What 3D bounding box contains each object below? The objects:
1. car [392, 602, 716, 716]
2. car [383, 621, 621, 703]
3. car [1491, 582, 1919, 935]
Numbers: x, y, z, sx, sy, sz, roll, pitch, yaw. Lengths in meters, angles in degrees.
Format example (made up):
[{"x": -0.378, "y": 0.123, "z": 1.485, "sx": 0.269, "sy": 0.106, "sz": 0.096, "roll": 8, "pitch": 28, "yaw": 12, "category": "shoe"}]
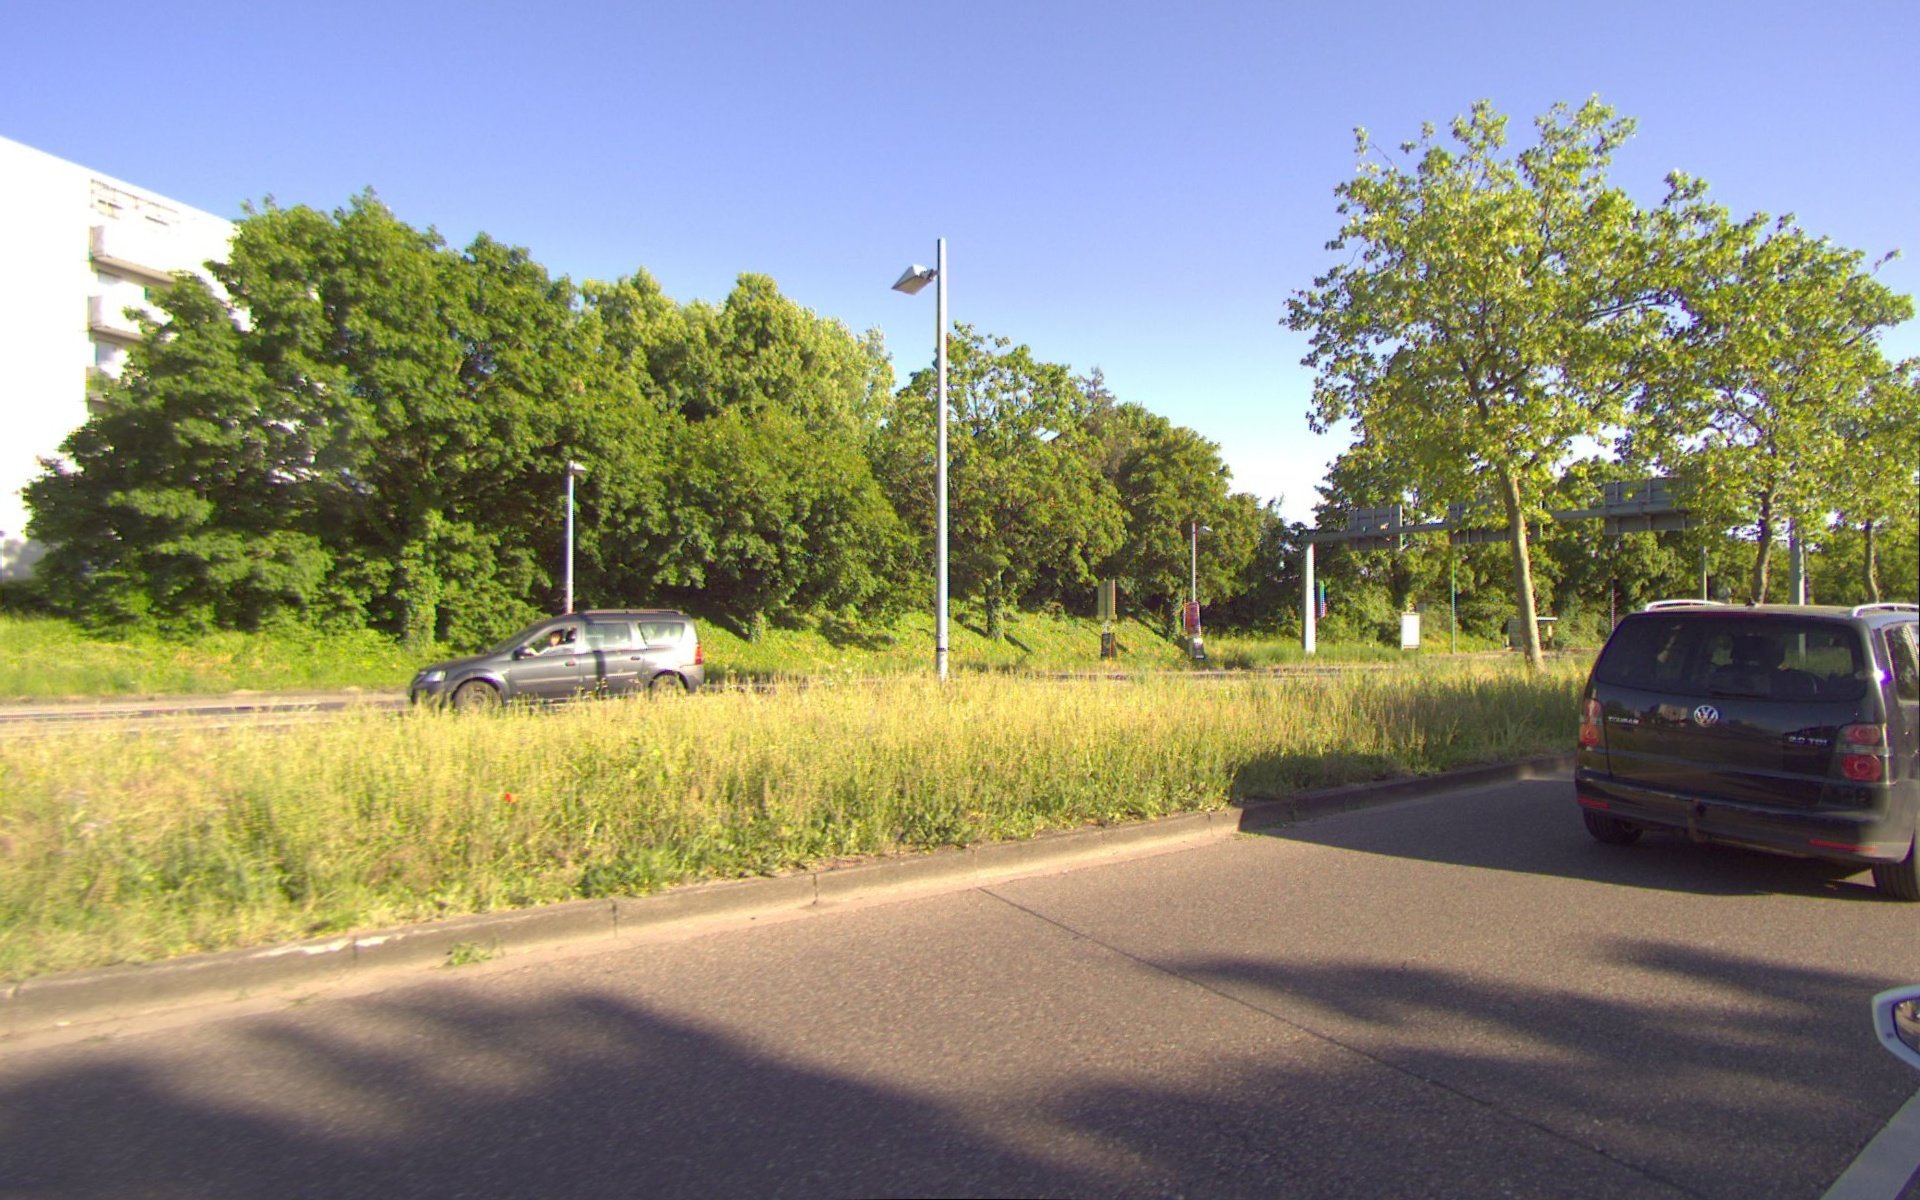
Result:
[{"x": -6.416, "y": 0.898, "z": 16.110, "sx": 4.522, "sy": 1.585, "sz": 1.885, "roll": 1, "pitch": -3, "yaw": -37, "category": "car"}, {"x": -10.058, "y": 1.317, "z": 22.213, "sx": 4.522, "sy": 1.631, "sz": 1.885, "roll": 1, "pitch": -3, "yaw": -37, "category": "car"}, {"x": 5.797, "y": 0.783, "z": 6.834, "sx": 4.872, "sy": 1.666, "sz": 1.757, "roll": 1, "pitch": 0, "yaw": -34, "category": "car"}]
